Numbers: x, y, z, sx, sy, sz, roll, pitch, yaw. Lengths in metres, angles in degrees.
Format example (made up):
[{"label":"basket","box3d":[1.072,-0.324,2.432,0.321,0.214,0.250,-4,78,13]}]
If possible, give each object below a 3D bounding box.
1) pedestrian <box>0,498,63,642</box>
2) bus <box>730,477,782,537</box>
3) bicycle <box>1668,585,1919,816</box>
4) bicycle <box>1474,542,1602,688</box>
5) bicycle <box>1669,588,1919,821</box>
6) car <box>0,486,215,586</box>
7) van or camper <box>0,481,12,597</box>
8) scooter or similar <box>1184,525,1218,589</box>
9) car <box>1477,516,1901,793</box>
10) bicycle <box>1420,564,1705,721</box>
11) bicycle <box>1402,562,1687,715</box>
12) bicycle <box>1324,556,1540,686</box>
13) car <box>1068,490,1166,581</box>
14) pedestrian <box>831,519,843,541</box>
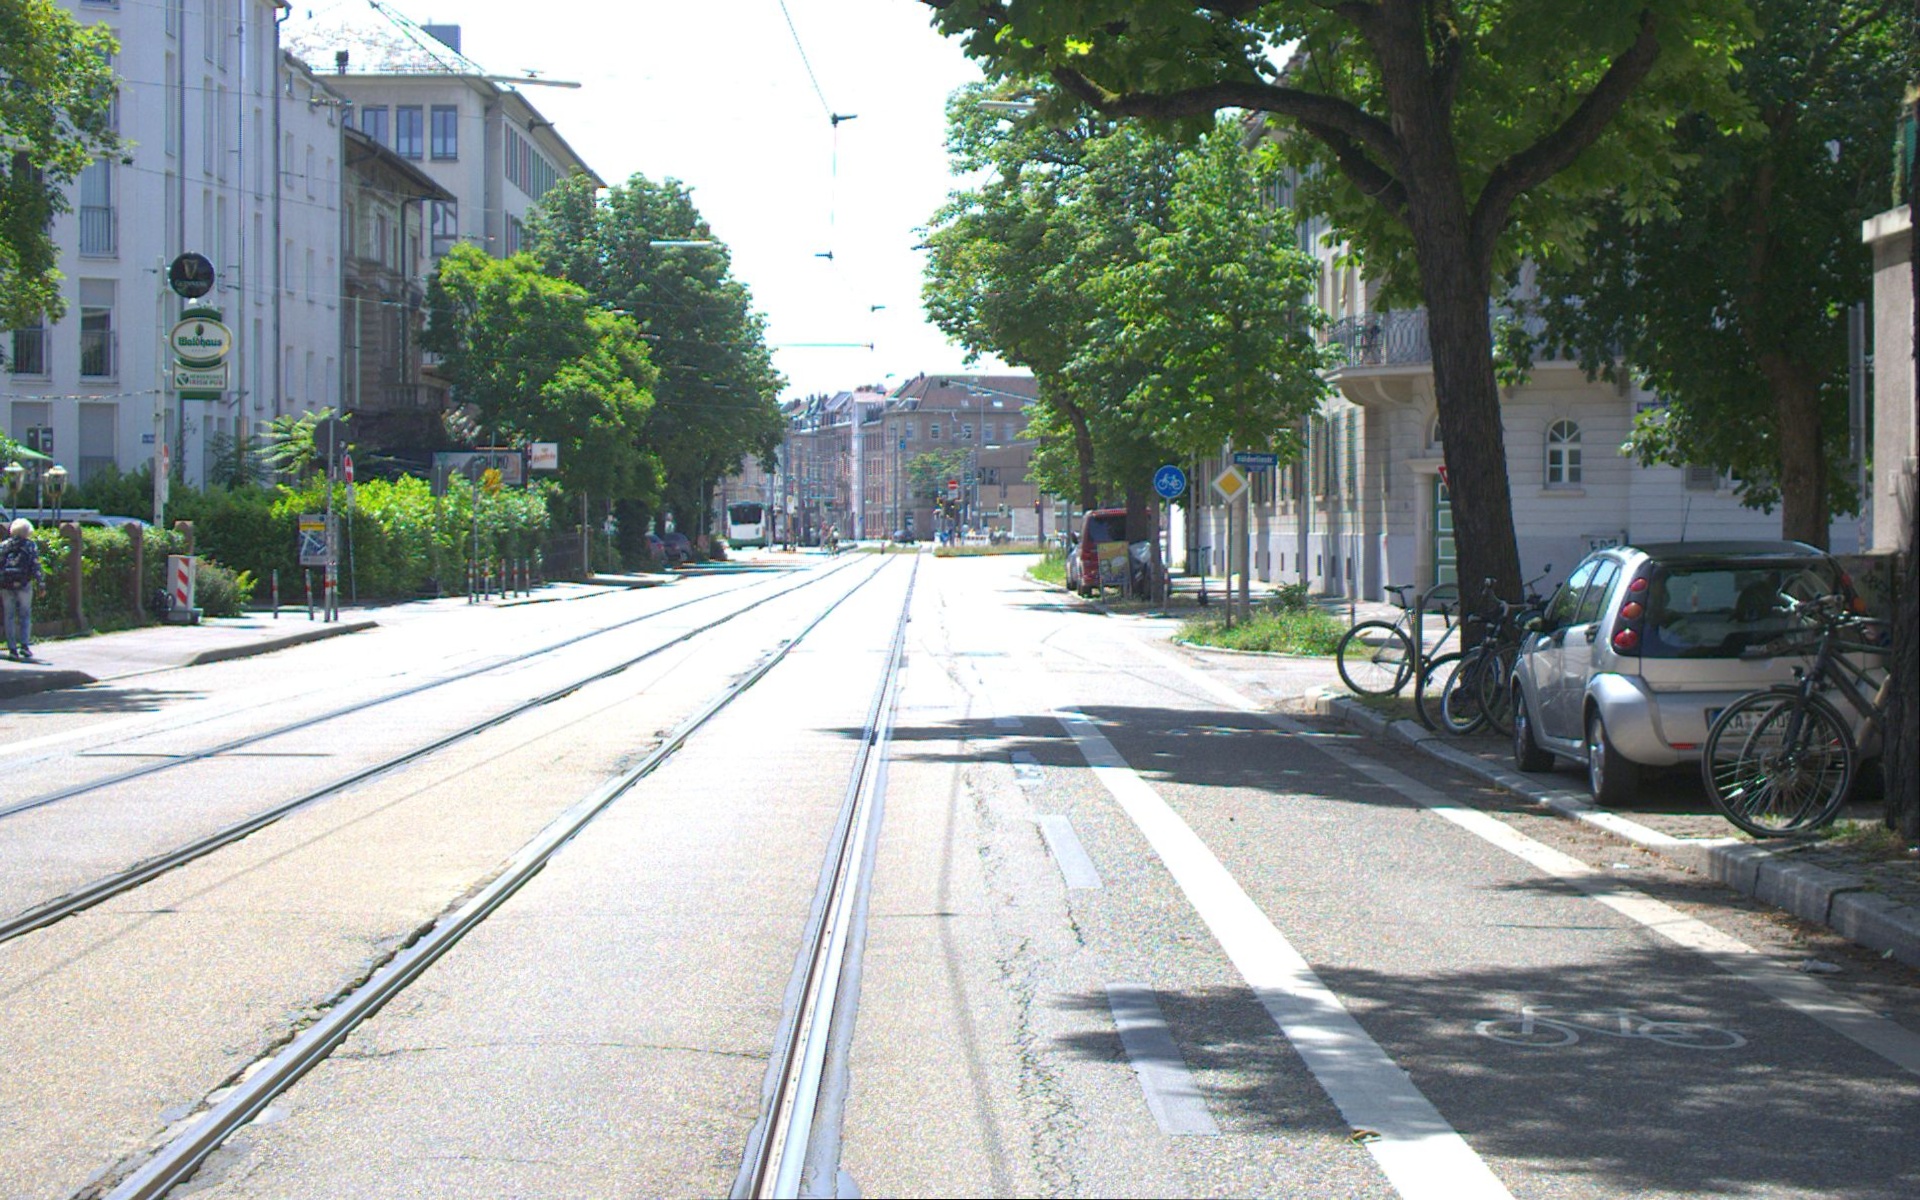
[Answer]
[{"label":"pedestrian","box3d":[-10.791,-0.352,39.412,0.751,1.623,0.833,1,1,2]},{"label":"bus","box3d":[-14.034,-6.360,237.357,2.931,3.923,11.276,2,1,-1]},{"label":"bicycle","box3d":[4.392,0.469,16.315,1.963,1.059,0.598,1,1,7]},{"label":"bicycle","box3d":[5.017,0.121,29.964,0.580,1.227,2.007,-1,0,-6]},{"label":"bicycle","box3d":[4.285,0.481,15.979,1.890,1.048,0.538,1,1,7]},{"label":"car","box3d":[-17.351,-1.295,68.475,4.484,1.897,1.998,1,1,16]},{"label":"van or camper","box3d":[-18.980,-1.094,60.695,1.995,2.112,4.794,1,1,18]},{"label":"scooter or similar","box3d":[4.695,-0.839,66.976,0.501,1.225,1.573,1,1,-1]},{"label":"car","box3d":[4.239,0.266,20.531,1.621,1.443,3.810,-2,1,-1]},{"label":"bicycle","box3d":[4.360,0.304,24.958,1.963,1.109,0.598,-1,0,2]},{"label":"bicycle","box3d":[4.332,0.280,25.583,2.010,1.109,0.640,-1,0,2]},{"label":"bicycle","box3d":[4.137,0.181,30.187,1.816,1.109,0.493,-1,0,-1]},{"label":"car","box3d":[3.593,-1.518,79.289,1.993,2.028,4.697,0,2,-1]},{"label":"pedestrian","box3d":[-6.602,-3.780,184.853,0.491,1.169,0.590,0,1,-24]}]
